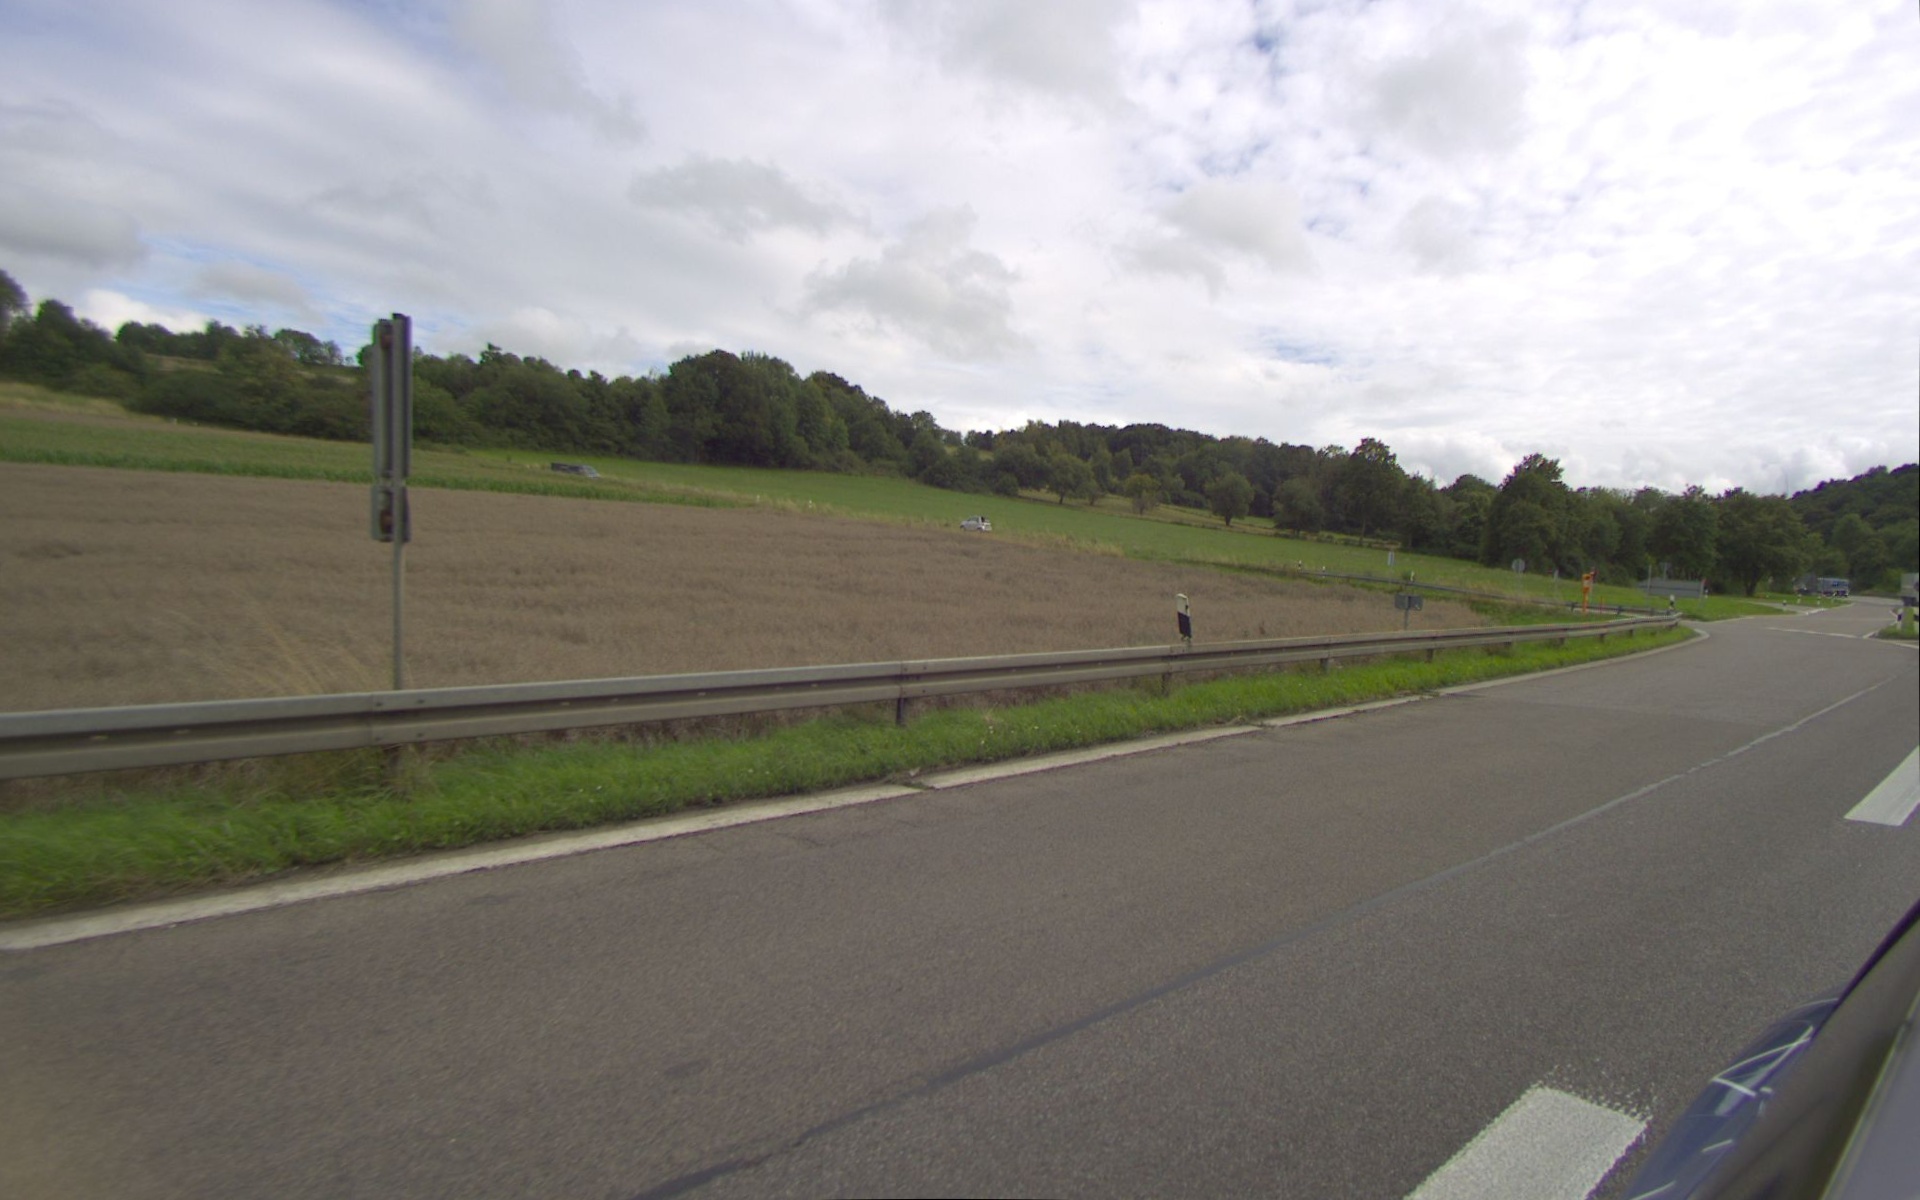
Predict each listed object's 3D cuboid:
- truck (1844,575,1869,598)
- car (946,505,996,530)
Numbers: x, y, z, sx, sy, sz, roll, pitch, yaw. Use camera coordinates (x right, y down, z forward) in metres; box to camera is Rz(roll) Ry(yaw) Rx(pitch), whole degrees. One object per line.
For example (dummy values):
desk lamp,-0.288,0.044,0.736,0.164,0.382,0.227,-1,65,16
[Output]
truck,171.176,-2.606,193.176,2.780,4.019,5.866,2,3,35
car,0.978,-7.351,90.403,3.980,1.569,1.761,11,5,34
